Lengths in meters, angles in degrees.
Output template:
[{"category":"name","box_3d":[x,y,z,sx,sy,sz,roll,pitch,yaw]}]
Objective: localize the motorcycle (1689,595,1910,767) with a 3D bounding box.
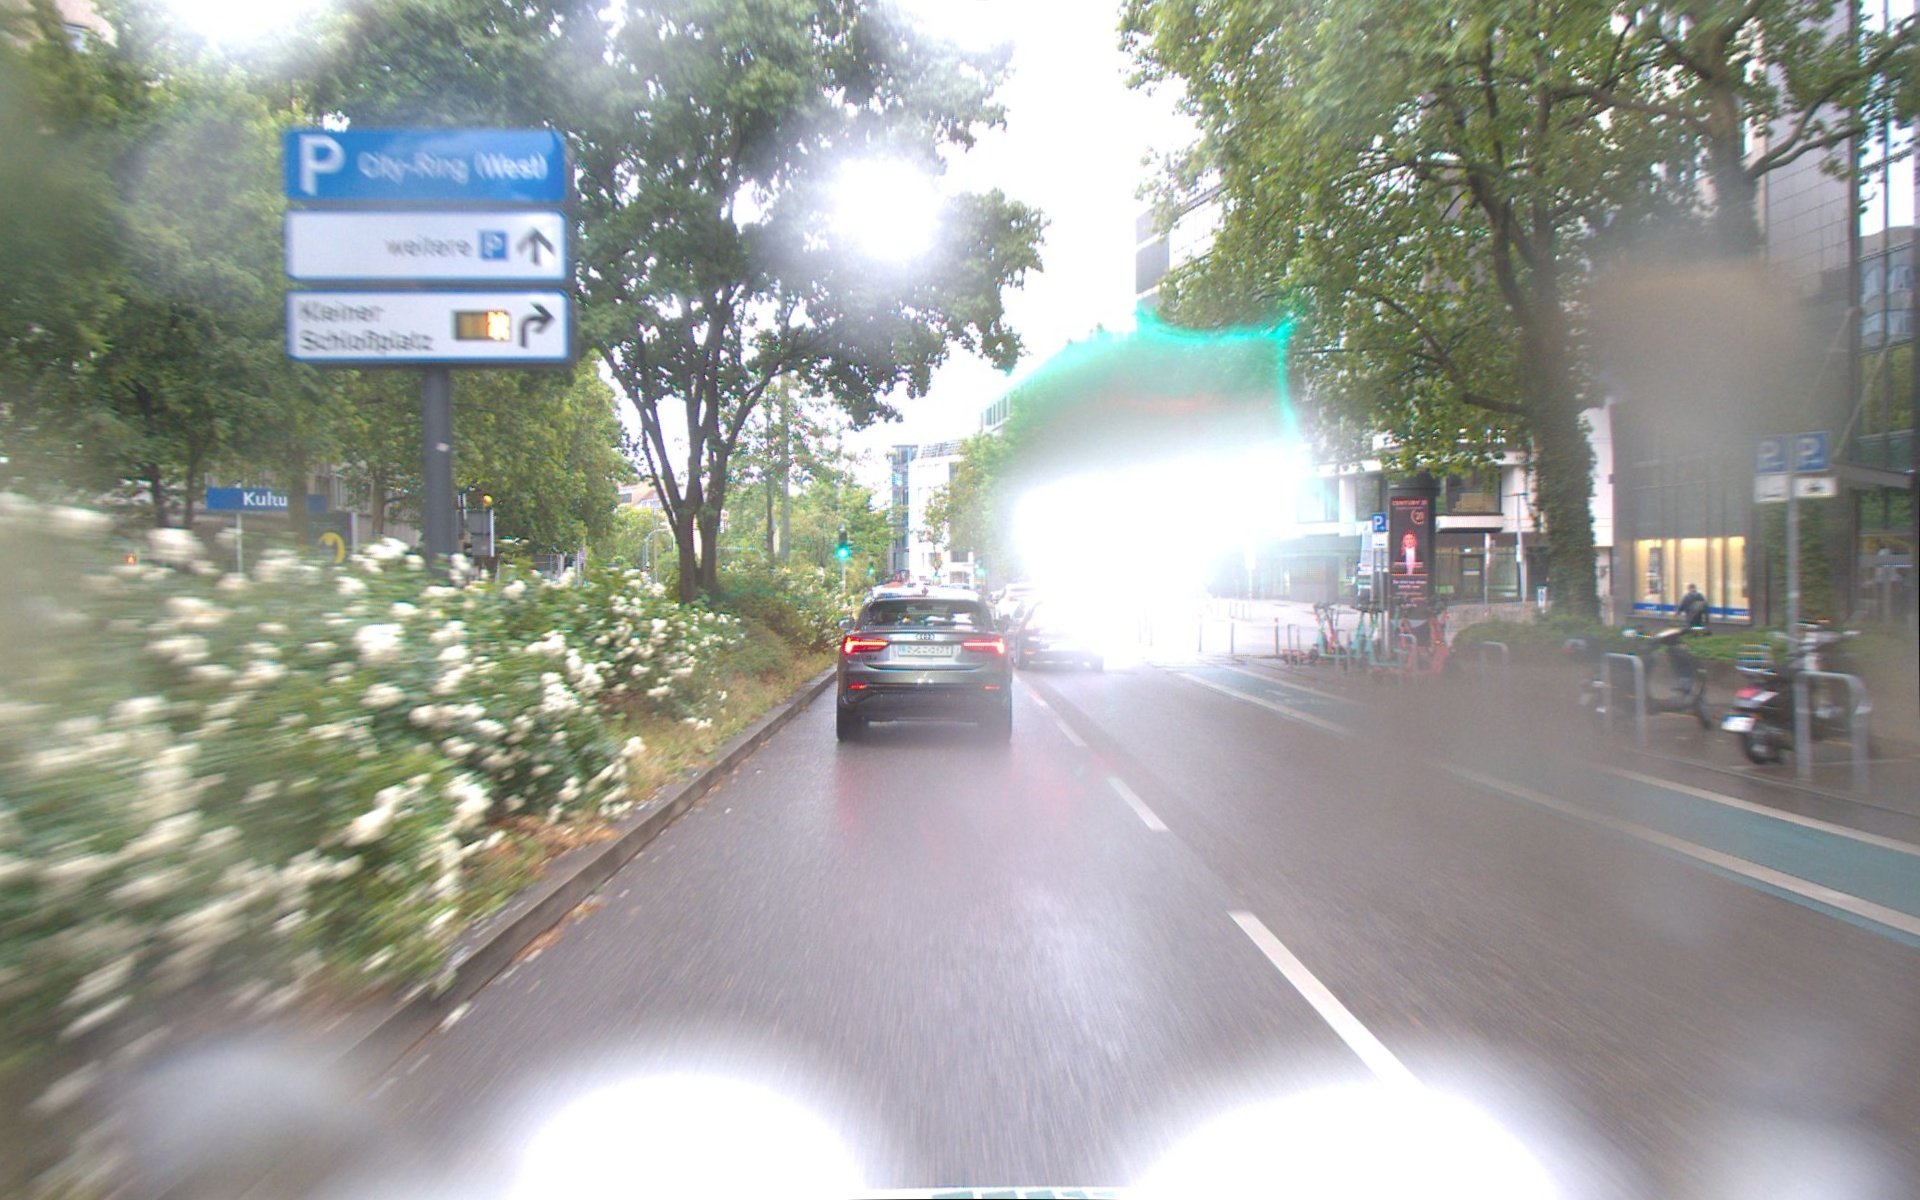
[{"category":"motorcycle","box_3d":[7.634,0.700,15.033,1.929,1.397,0.724,-2,2,-23]}]

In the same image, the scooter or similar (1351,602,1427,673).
[{"category":"scooter or similar","box_3d":[7.952,0.689,30.704,1.263,1.257,0.489,-2,2,1]}]

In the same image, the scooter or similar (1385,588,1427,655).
[{"category":"scooter or similar","box_3d":[9.114,0.424,33.840,0.477,1.281,1.293,-2,2,-1]}]

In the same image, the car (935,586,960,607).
[{"category":"car","box_3d":[-0.917,-0.280,123.318,1.812,1.550,4.038,0,0,-1]}]

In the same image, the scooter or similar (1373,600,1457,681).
[{"category":"scooter or similar","box_3d":[7.659,0.671,27.875,1.262,1.300,0.537,-1,2,3]}]

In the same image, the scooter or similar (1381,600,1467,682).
[{"category":"scooter or similar","box_3d":[7.683,0.669,27.432,1.262,1.300,0.537,-1,2,3]}]

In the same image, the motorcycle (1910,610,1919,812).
[{"category":"motorcycle","box_3d":[7.636,0.738,11.541,1.929,1.397,0.724,-2,2,-23]}]

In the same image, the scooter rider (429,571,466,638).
[{"category":"scooter rider","box_3d":[-15.307,0.134,49.405,0.882,1.974,0.756,0,0,-5]}]

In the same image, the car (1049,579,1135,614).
[{"category":"car","box_3d":[6.027,-0.175,75.412,3.572,1.574,1.716,0,0,18]}]

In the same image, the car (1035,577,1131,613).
[{"category":"car","box_3d":[5.797,-0.249,78.138,4.172,1.696,1.817,1,0,25]}]

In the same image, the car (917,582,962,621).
[{"category":"car","box_3d":[-0.847,0.052,67.735,1.812,1.550,4.038,0,0,-1]}]

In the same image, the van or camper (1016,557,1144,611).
[{"category":"van or camper","box_3d":[5.876,-0.780,81.453,5.946,2.603,2.103,0,0,26]}]

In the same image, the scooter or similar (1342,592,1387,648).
[{"category":"scooter or similar","box_3d":[8.904,0.435,36.396,0.479,1.218,1.290,0,0,-10]}]

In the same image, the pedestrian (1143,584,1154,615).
[{"category":"pedestrian","box_3d":[11.425,-0.030,100.126,0.542,1.836,0.761,1,-1,-4]}]

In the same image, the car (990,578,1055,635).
[{"category":"car","box_3d":[1.922,0.179,51.890,1.812,1.698,4.038,0,0,-1]}]

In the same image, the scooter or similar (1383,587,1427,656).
[{"category":"scooter or similar","box_3d":[8.764,0.414,32.601,0.477,1.281,1.293,-2,2,-1]}]

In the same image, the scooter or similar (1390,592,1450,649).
[{"category":"scooter or similar","box_3d":[10.055,0.446,36.196,0.483,1.218,1.279,0,0,-31]}]

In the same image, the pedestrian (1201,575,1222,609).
[{"category":"pedestrian","box_3d":[12.879,-0.422,84.813,0.790,1.726,1.186,1,0,-7]}]

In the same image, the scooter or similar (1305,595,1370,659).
[{"category":"scooter or similar","box_3d":[7.831,0.554,34.353,1.262,1.281,0.490,-1,2,11]}]

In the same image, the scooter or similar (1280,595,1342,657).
[{"category":"scooter or similar","box_3d":[7.519,0.556,35.492,1.262,1.281,0.490,-1,2,11]}]

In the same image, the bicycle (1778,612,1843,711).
[{"category":"bicycle","box_3d":[9.643,0.669,18.757,0.625,1.046,1.761,0,0,27]}]

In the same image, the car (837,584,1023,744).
[{"category":"car","box_3d":[-0.352,0.610,18.115,1.812,1.550,4.037,0,0,-2]}]

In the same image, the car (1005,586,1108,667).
[{"category":"car","box_3d":[1.910,0.488,33.803,1.812,1.550,4.038,0,0,-1]}]

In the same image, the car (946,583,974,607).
[{"category":"car","box_3d":[-0.020,-0.352,108.713,1.812,1.550,4.038,0,0,-1]}]

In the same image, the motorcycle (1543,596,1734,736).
[{"category":"motorcycle","box_3d":[7.496,0.702,18.278,1.925,1.397,0.726,-2,2,-18]}]

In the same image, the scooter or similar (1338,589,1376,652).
[{"category":"scooter or similar","box_3d":[8.523,0.426,35.532,0.477,1.281,1.293,-2,2,-1]}]

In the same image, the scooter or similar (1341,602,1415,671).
[{"category":"scooter or similar","box_3d":[7.937,0.693,31.448,1.263,1.257,0.489,-2,2,1]}]

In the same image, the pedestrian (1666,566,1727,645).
[{"category":"pedestrian","box_3d":[17.977,0.143,40.373,0.898,1.882,1.276,1,-1,-2]}]

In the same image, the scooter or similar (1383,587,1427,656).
[{"category":"scooter or similar","box_3d":[8.764,0.414,32.601,0.477,1.281,1.293,-2,2,-1]}]

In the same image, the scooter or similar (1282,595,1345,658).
[{"category":"scooter or similar","box_3d":[7.455,0.553,34.879,1.262,1.281,0.490,-1,2,11]}]

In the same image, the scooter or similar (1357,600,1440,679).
[{"category":"scooter or similar","box_3d":[7.575,0.674,28.558,1.267,1.300,0.535,-2,2,-12]}]

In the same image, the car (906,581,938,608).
[{"category":"car","box_3d":[-2.203,-0.337,95.844,1.812,1.550,4.038,0,0,-1]}]
